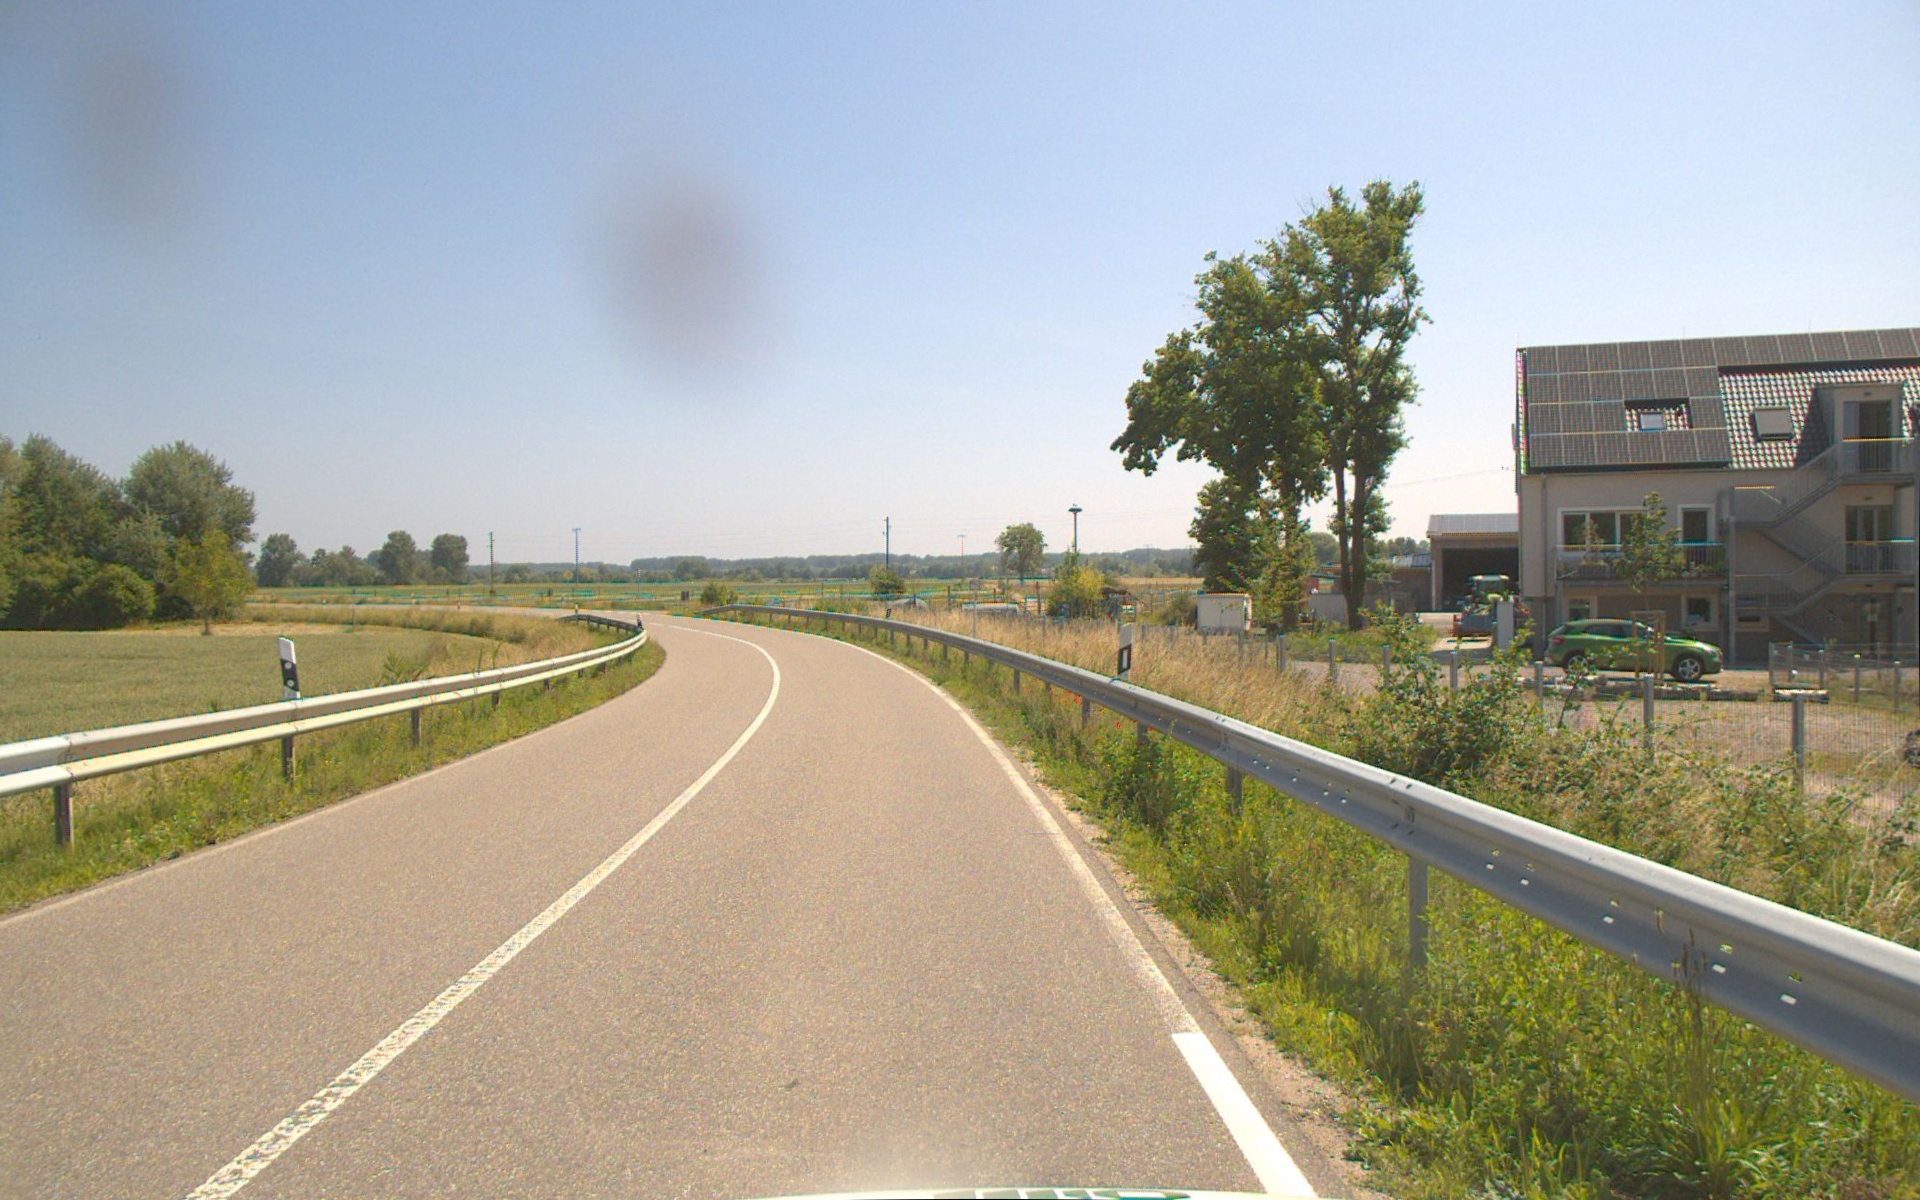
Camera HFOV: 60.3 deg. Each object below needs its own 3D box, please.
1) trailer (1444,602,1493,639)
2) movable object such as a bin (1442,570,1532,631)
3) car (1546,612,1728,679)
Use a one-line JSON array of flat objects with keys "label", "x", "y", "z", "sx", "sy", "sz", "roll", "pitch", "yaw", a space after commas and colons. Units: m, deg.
[{"label": "trailer", "x": 21.748, "y": 0.885, "z": 70.721, "sx": 1.676, "sy": 1.523, "sz": 3.139, "roll": 0, "pitch": -1, "yaw": 24}, {"label": "movable object such as a bin", "x": 25.910, "y": -0.026, "z": 81.616, "sx": 2.938, "sy": 2.818, "sz": 6.510, "roll": 1, "pitch": 1, "yaw": 6}, {"label": "car", "x": 17.563, "y": 1.179, "z": 43.146, "sx": 4.268, "sy": 1.608, "sz": 1.934, "roll": 1, "pitch": -1, "yaw": 19}]
